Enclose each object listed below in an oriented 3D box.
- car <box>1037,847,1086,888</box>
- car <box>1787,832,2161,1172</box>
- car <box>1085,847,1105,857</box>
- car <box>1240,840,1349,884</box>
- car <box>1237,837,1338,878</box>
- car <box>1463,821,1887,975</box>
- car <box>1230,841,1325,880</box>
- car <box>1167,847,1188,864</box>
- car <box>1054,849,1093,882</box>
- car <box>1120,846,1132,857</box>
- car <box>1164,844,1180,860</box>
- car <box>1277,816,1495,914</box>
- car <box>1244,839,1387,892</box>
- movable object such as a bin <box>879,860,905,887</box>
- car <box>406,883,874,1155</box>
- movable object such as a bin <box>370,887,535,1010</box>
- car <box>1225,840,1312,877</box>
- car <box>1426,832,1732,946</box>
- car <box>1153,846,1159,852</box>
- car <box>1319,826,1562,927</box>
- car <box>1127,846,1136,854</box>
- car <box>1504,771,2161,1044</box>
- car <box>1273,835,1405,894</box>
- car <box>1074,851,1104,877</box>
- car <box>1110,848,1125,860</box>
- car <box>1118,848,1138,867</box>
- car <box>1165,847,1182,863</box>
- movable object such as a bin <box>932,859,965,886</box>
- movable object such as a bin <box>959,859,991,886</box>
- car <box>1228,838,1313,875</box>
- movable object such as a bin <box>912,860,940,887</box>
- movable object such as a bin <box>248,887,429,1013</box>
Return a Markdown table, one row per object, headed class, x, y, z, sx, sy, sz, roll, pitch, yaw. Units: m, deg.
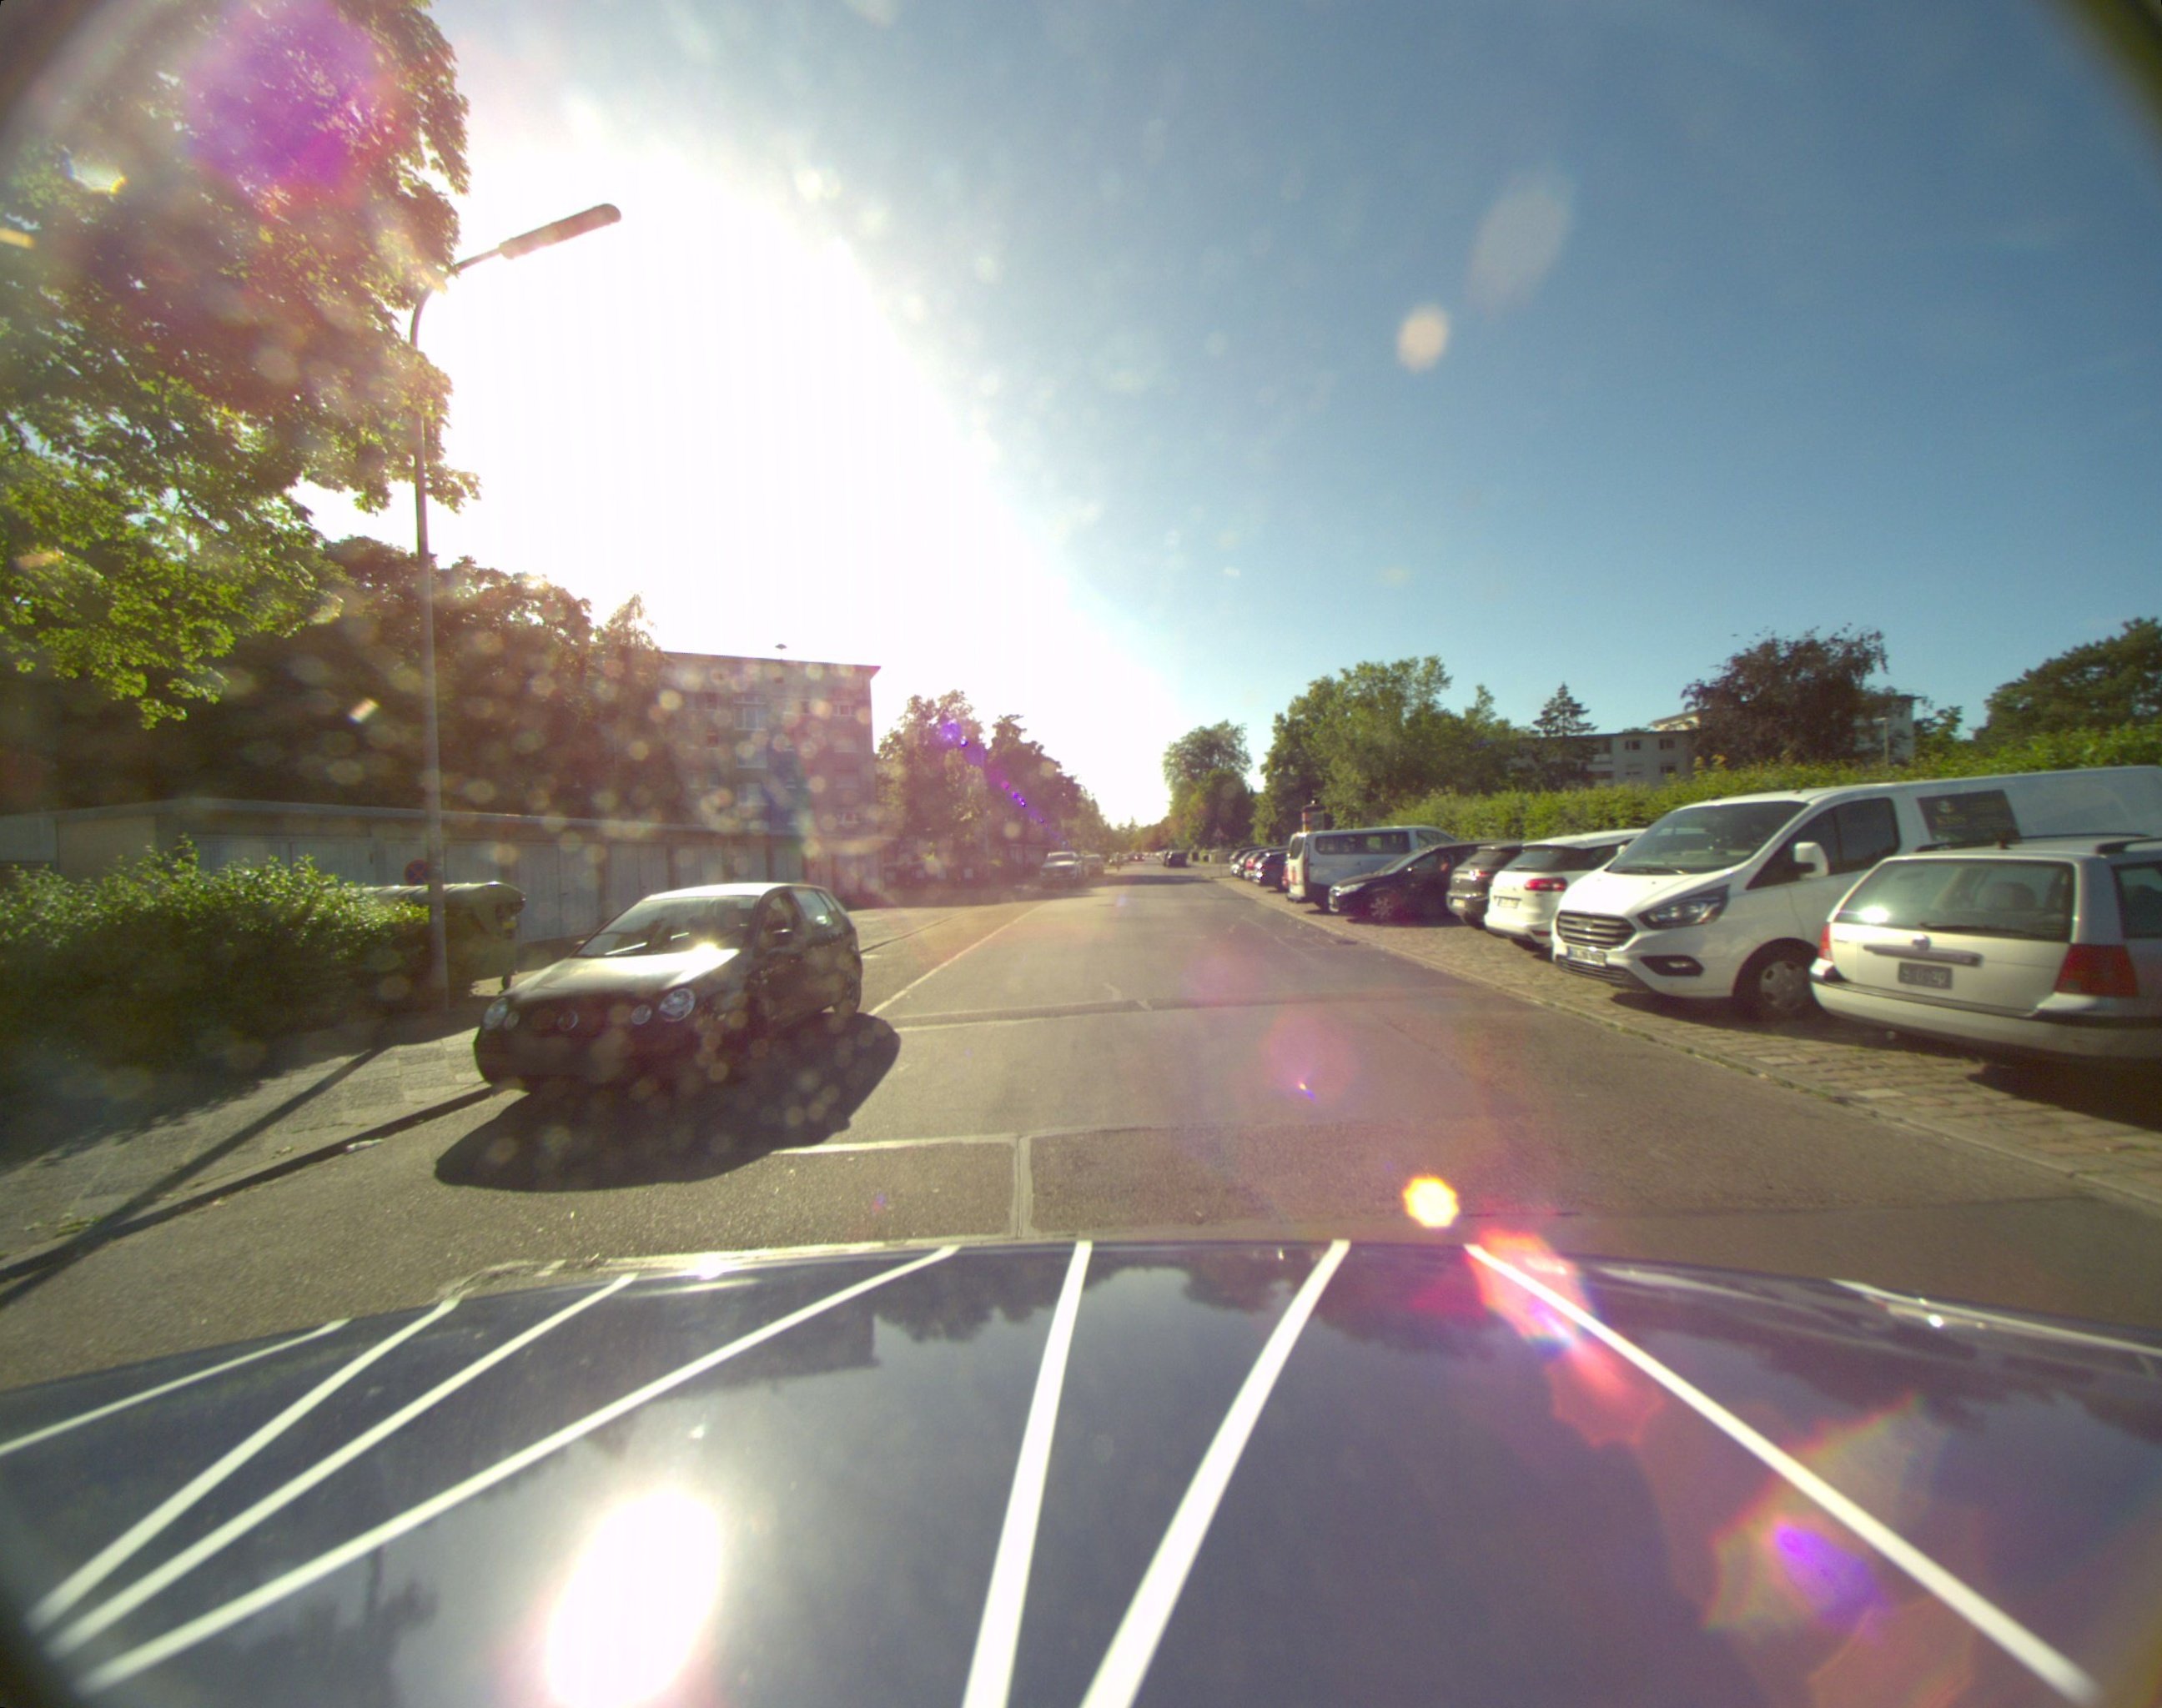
| class | x | y | z | sx | sy | sz | roll | pitch | yaw |
| --- | --- | --- | --- | --- | --- | --- | --- | --- | --- |
| car | -0.916 | 0.662 | 39.739 | 1.911 | 1.829 | 5.276 | -4 | 0 | 4 |
| car | 6.733 | 0.661 | 4.567 | 3.523 | 1.438 | 1.636 | -5 | 1 | -4 |
| car | 2.466 | -0.433 | 137.236 | 3.503 | 1.499 | 1.602 | -5 | 1 | -1 |
| car | 8.751 | 0.329 | 31.382 | 3.996 | 1.470 | 1.791 | -4 | 0 | 5 |
| car | 9.288 | 0.154 | 34.497 | 4.028 | 1.504 | 1.906 | -4 | 1 | 3 |
| car | 7.567 | 0.523 | 10.063 | 3.996 | 1.574 | 1.884 | -4 | 1 | 4 |
| car | 9.485 | 0.285 | 36.902 | 4.102 | 1.504 | 1.812 | -4 | 1 | 3 |
| car | 9.333 | 0.147 | 74.045 | 1.784 | 1.564 | 4.425 | -3 | 0 | 5 |
| car | -0.403 | 0.649 | 46.260 | 1.837 | 1.780 | 4.556 | -4 | 0 | 4 |
| car | 7.258 | -0.418 | 123.345 | 1.732 | 1.586 | 3.813 | -3 | 0 | 5 |
| car | 11.719 | -0.269 | 97.863 | 1.909 | 1.930 | 4.512 | 0 | 1 | 6 |
| car | 7.392 | 0.246 | 18.791 | 4.489 | 1.966 | 2.000 | -4 | 1 | 4 |
| car | 8.293 | 0.404 | 27.232 | 4.554 | 1.470 | 1.748 | -4 | 0 | 5 |
| movable object such as a bin | -10.459 | 1.078 | 42.117 | 1.078 | 1.409 | 0.833 | -2 | 2 | 11 |
| car | -3.226 | 1.090 | 6.588 | 1.651 | 1.395 | 3.881 | -2 | 1 | 2 |
| movable object such as a bin | -7.977 | 1.176 | 9.703 | 1.240 | 1.395 | 0.914 | -3 | 2 | 2 |
| car | 9.607 | 0.227 | 39.100 | 3.996 | 1.524 | 1.832 | -4 | 1 | 3 |
| car | 8.095 | 0.528 | 12.672 | 3.776 | 1.478 | 1.884 | -4 | 1 | 4 |
| car | 20.793 | -1.266 | 210.096 | 1.632 | 1.619 | 3.557 | 0 | 1 | 5 |
| car | 7.318 | 0.437 | 15.893 | 4.158 | 1.696 | 1.885 | -4 | 1 | 11 |
| car | 10.562 | -0.899 | 158.586 | 1.732 | 1.586 | 3.813 | -3 | 0 | 5 |
| car | 7.100 | 0.408 | 7.311 | 4.801 | 1.909 | 2.081 | -5 | 1 | -1 |
| car | 8.226 | 0.341 | 24.510 | 3.610 | 1.558 | 1.882 | -4 | 0 | 5 |
| car | 0.617 | 0.684 | 54.932 | 1.808 | 1.584 | 4.024 | -4 | 1 | 4 |
| car | 4.893 | -0.043 | 101.355 | 1.732 | 1.462 | 3.813 | -3 | 0 | 5 |
| car | 4.369 | 0.328 | 70.255 | 1.732 | 1.586 | 3.813 | -3 | 0 | 5 |
| car | 10.220 | 0.082 | 84.053 | 1.817 | 1.672 | 3.649 | 0 | 1 | 5 |
| movable object such as a bin | -6.944 | 0.962 | 39.859 | 1.252 | 1.340 | 1.054 | -2 | 2 | 16 |
| movable object such as a bin | -5.447 | 0.951 | 39.240 | 1.252 | 1.340 | 1.054 | -2 | 2 | 16 |
| car | 10.397 | 0.133 | 41.987 | 4.196 | 1.647 | 1.846 | -4 | 1 | 3 |
| movable object such as a bin | -8.229 | 1.047 | 40.346 | 1.077 | 1.340 | 0.865 | -2 | 2 | 16 |
| movable object such as a bin | -9.384 | 1.182 | 9.660 | 1.277 | 1.408 | 0.951 | -3 | 2 | 2 |
